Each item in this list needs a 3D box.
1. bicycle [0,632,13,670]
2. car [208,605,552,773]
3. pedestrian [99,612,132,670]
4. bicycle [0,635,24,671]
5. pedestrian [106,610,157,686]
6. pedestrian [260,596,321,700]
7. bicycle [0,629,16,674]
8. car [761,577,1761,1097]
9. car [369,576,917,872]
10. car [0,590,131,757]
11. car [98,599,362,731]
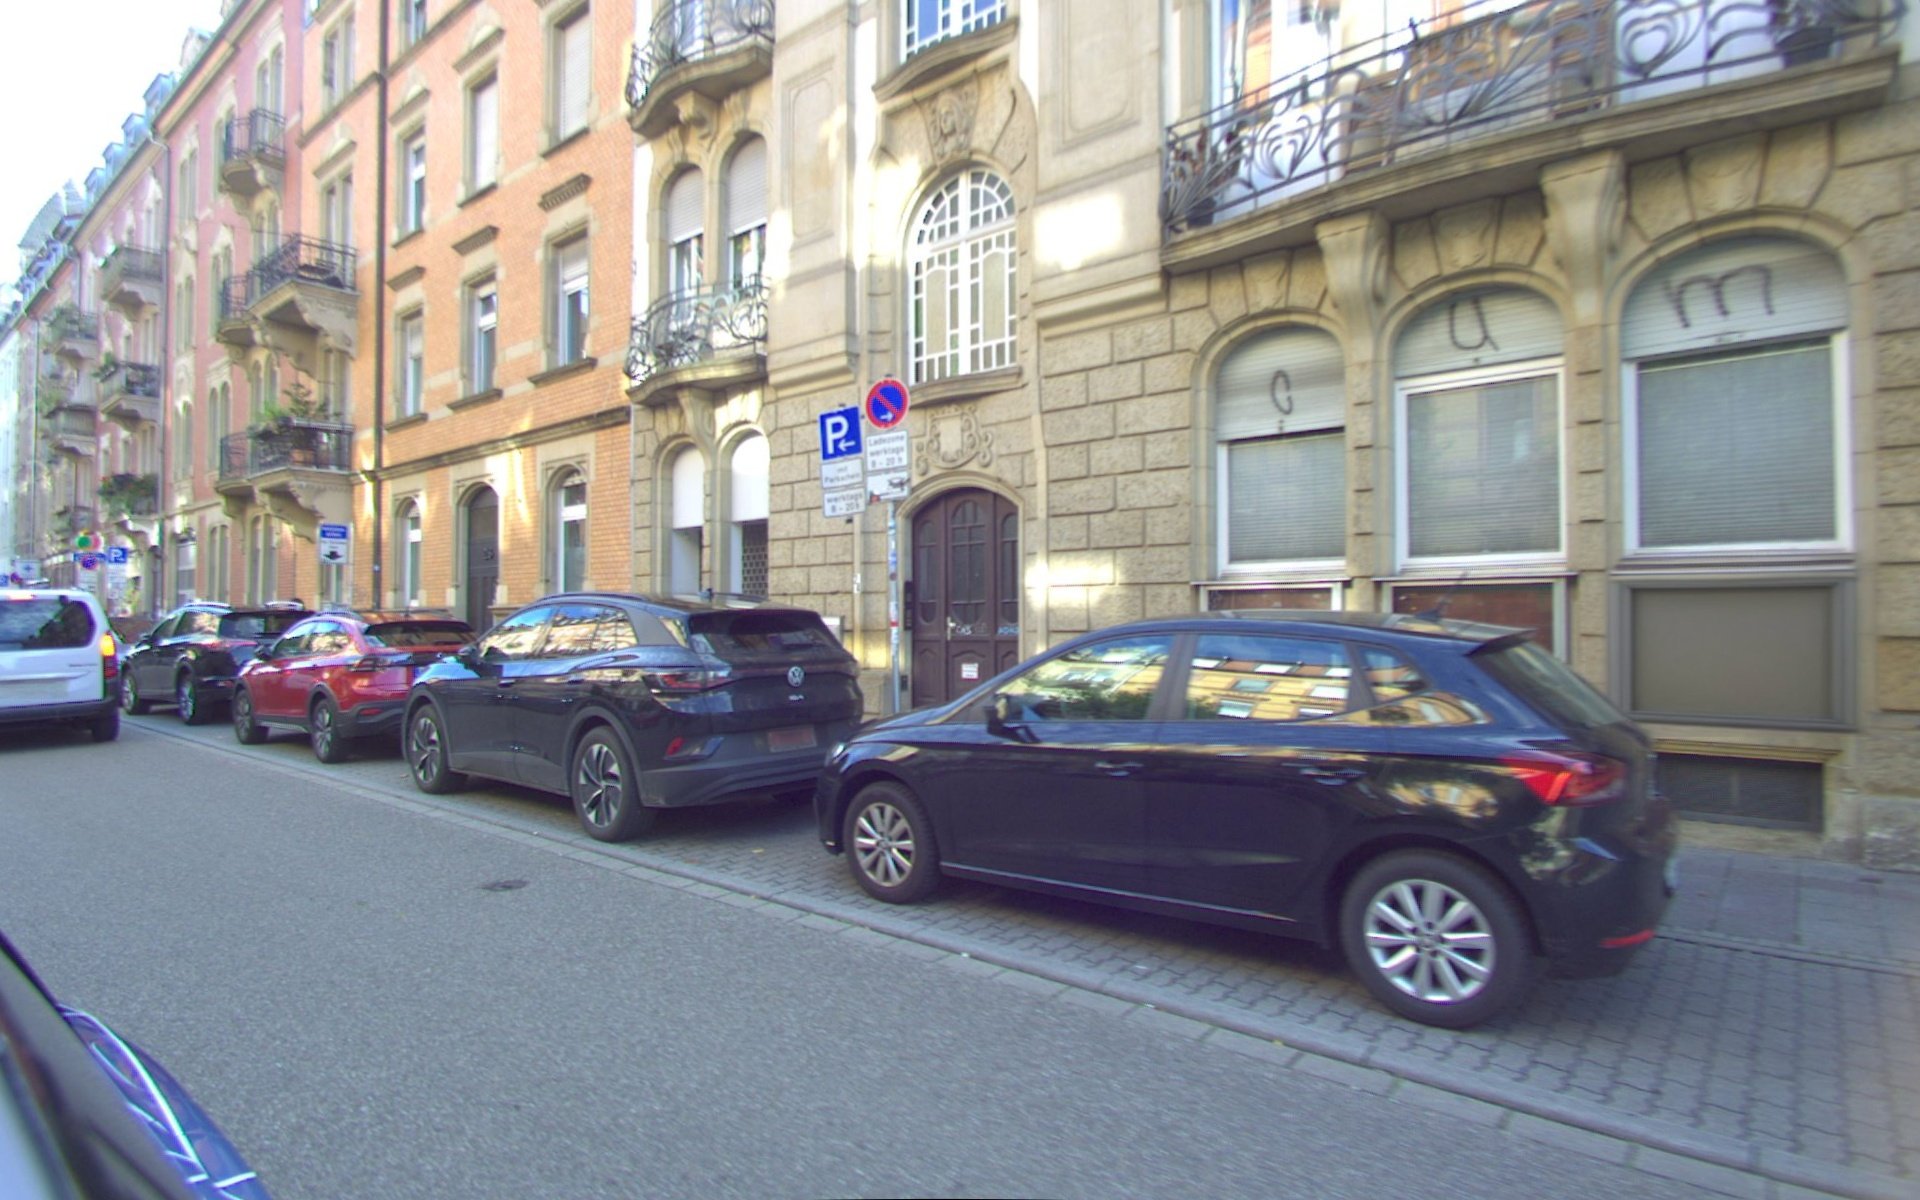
[{"bbox_3d":[-31.547,1.670,32.467,0.583,1.209,1.789,-1,-1,4],"label":"bicycle"},{"bbox_3d":[-6.745,0.879,11.582,4.422,1.556,1.974,-1,-2,39],"label":"car"},{"bbox_3d":[-25.738,1.237,30.847,0.763,1.709,0.657,-2,-1,40],"label":"pedestrian"},{"bbox_3d":[-30.951,1.695,32.263,0.548,1.129,1.736,-1,-1,4],"label":"bicycle"},{"bbox_3d":[-18.571,1.060,22.695,0.545,1.674,0.679,-1,-1,10],"label":"pedestrian"},{"bbox_3d":[-12.157,0.858,18.368,0.863,1.822,0.748,-2,-1,44],"label":"pedestrian"},{"bbox_3d":[-29.271,1.557,30.230,0.521,1.332,1.675,-1,-1,4],"label":"bicycle"},{"bbox_3d":[1.165,0.718,4.926,4.240,1.431,1.973,-2,-2,40],"label":"car"},{"bbox_3d":[-2.706,0.740,7.890,4.844,1.641,1.772,-1,-2,40],"label":"car"},{"bbox_3d":[-12.071,0.846,12.733,4.437,1.842,1.897,-1,-1,42],"label":"car"},{"bbox_3d":[-11.122,0.912,15.285,4.885,1.693,1.856,-2,-1,37],"label":"car"}]
